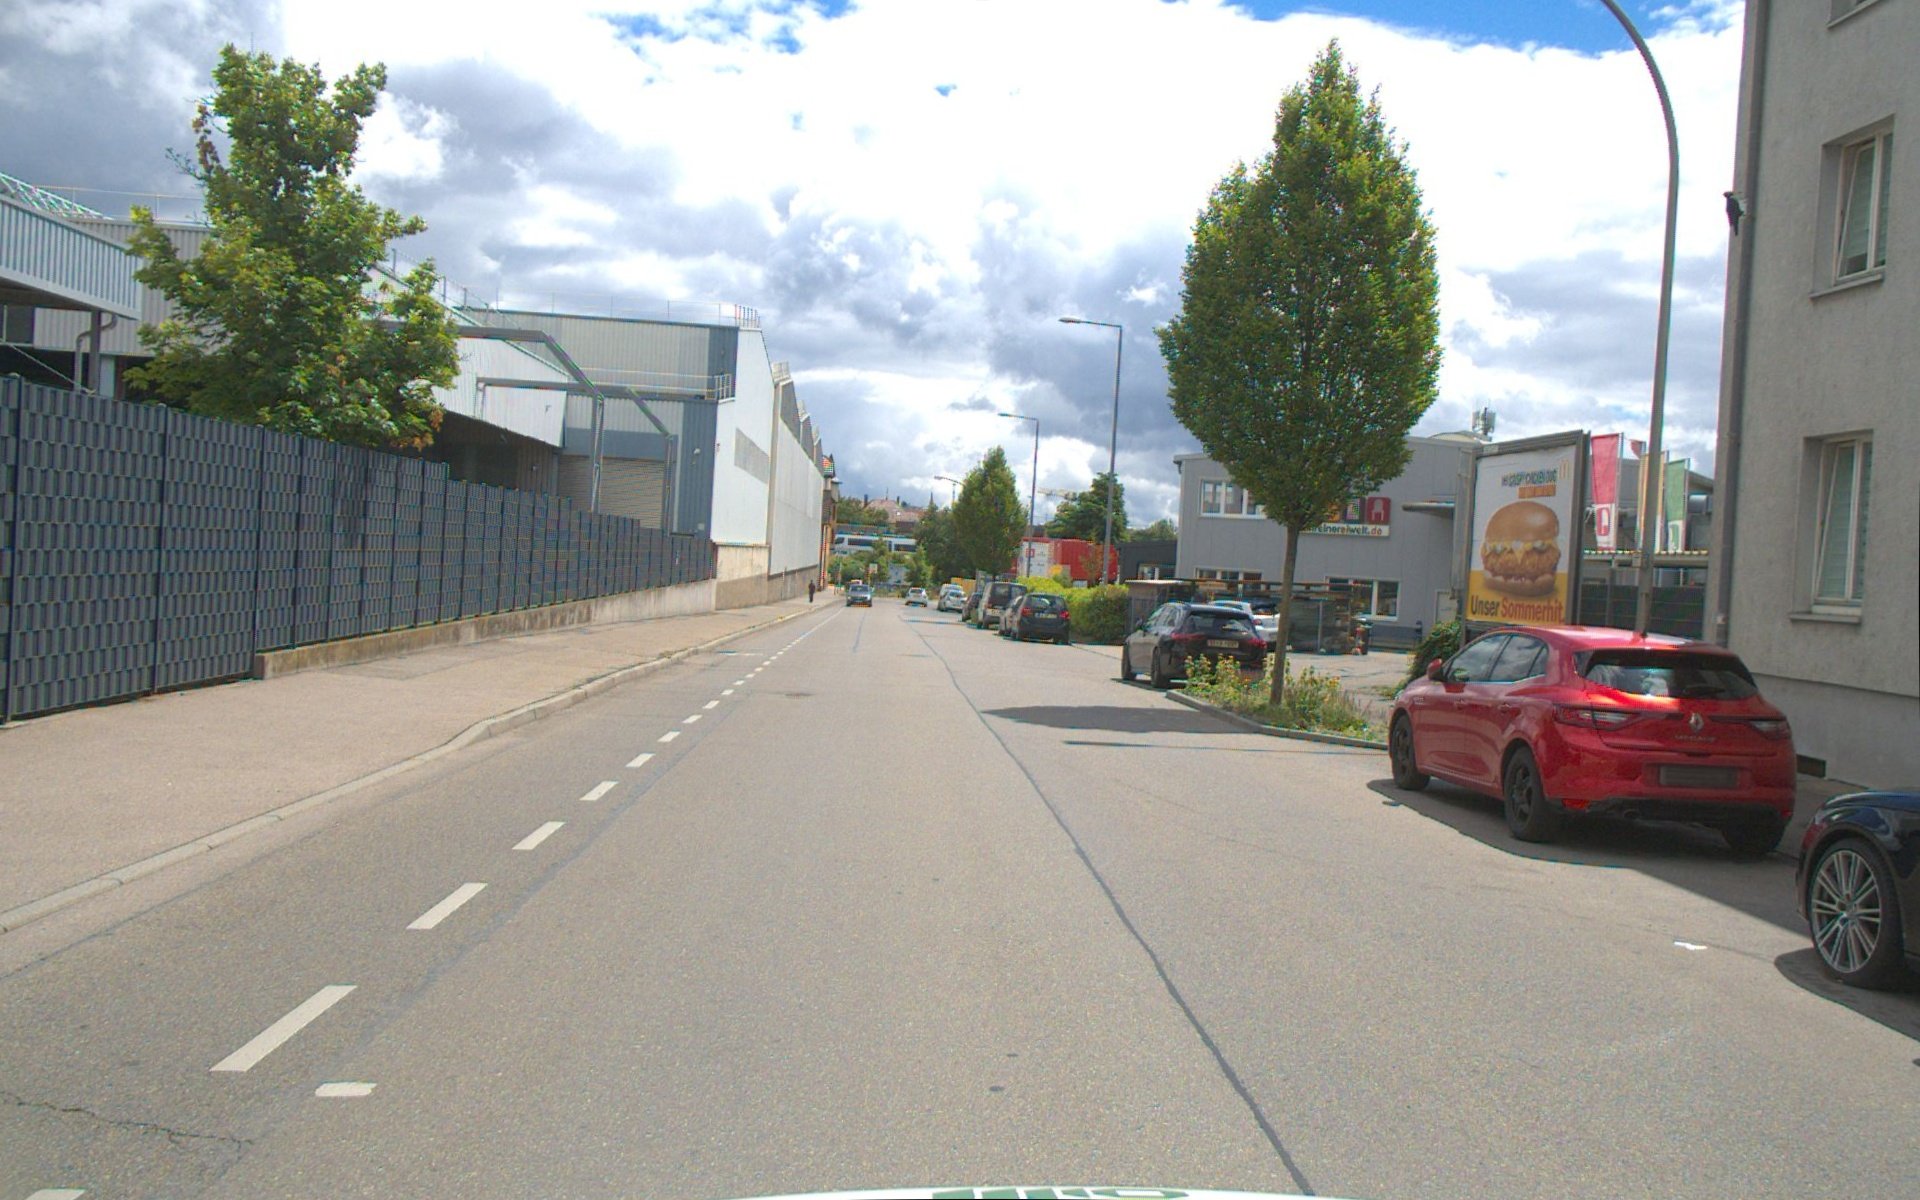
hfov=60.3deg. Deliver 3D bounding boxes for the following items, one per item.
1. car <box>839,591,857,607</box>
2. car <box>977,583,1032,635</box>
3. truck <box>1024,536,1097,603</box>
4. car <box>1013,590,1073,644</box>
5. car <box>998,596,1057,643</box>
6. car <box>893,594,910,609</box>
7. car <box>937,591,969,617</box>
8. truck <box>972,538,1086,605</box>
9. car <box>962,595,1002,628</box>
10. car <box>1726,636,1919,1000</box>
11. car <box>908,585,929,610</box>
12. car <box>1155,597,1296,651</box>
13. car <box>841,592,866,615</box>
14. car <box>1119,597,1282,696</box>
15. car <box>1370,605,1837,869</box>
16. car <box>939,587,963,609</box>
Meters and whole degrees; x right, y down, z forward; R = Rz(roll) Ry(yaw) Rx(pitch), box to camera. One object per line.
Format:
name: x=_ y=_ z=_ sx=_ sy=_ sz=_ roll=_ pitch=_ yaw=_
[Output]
car: x=-12.212 y=-0.134 z=180.479 sx=1.816 sy=1.512 sz=3.997 roll=3 pitch=-2 yaw=-3
car: x=1.851 y=0.366 z=70.214 sx=1.832 sy=2.025 sz=5.140 roll=3 pitch=0 yaw=-3
truck: x=7.346 y=-2.170 z=121.787 sx=2.534 sy=4.527 sz=7.822 roll=4 pitch=-2 yaw=-18
car: x=2.730 y=0.548 z=55.145 sx=1.645 sy=1.666 sz=4.121 roll=3 pitch=0 yaw=-1
car: x=2.412 y=0.684 z=60.310 sx=1.622 sy=1.567 sz=4.731 roll=3 pitch=0 yaw=-3
car: x=-6.778 y=0.194 z=191.865 sx=1.816 sy=1.512 sz=3.997 roll=3 pitch=-2 yaw=-3
car: x=-0.479 y=0.283 z=114.240 sx=1.669 sy=1.553 sz=3.733 roll=6 pitch=0 yaw=-7
truck: x=5.355 y=-2.204 z=128.480 sx=8.274 sy=4.752 sz=2.583 roll=3 pitch=-2 yaw=18
car: x=1.093 y=0.569 z=84.006 sx=1.680 sy=1.499 sz=4.508 roll=3 pitch=0 yaw=-3
car: x=4.924 y=1.013 z=6.008 sx=1.701 sy=1.448 sz=4.857 roll=4 pitch=1 yaw=-4
car: x=-3.358 y=-0.183 z=133.673 sx=1.536 sy=1.817 sz=3.603 roll=3 pitch=-2 yaw=-3
car: x=7.858 y=0.683 z=49.214 sx=1.710 sy=1.488 sz=4.014 roll=0 pitch=1 yaw=-41
car: x=-7.525 y=0.274 z=116.893 sx=1.685 sy=1.583 sz=4.284 roll=0 pitch=-1 yaw=-3
car: x=4.063 y=0.746 z=28.705 sx=1.756 sy=1.491 sz=4.704 roll=3 pitch=0 yaw=-4
car: x=4.644 y=0.885 z=12.687 sx=1.700 sy=1.498 sz=4.260 roll=4 pitch=1 yaw=-2
car: x=-0.717 y=-0.169 z=125.009 sx=1.667 sy=1.554 sz=3.737 roll=4 pitch=0 yaw=-1
